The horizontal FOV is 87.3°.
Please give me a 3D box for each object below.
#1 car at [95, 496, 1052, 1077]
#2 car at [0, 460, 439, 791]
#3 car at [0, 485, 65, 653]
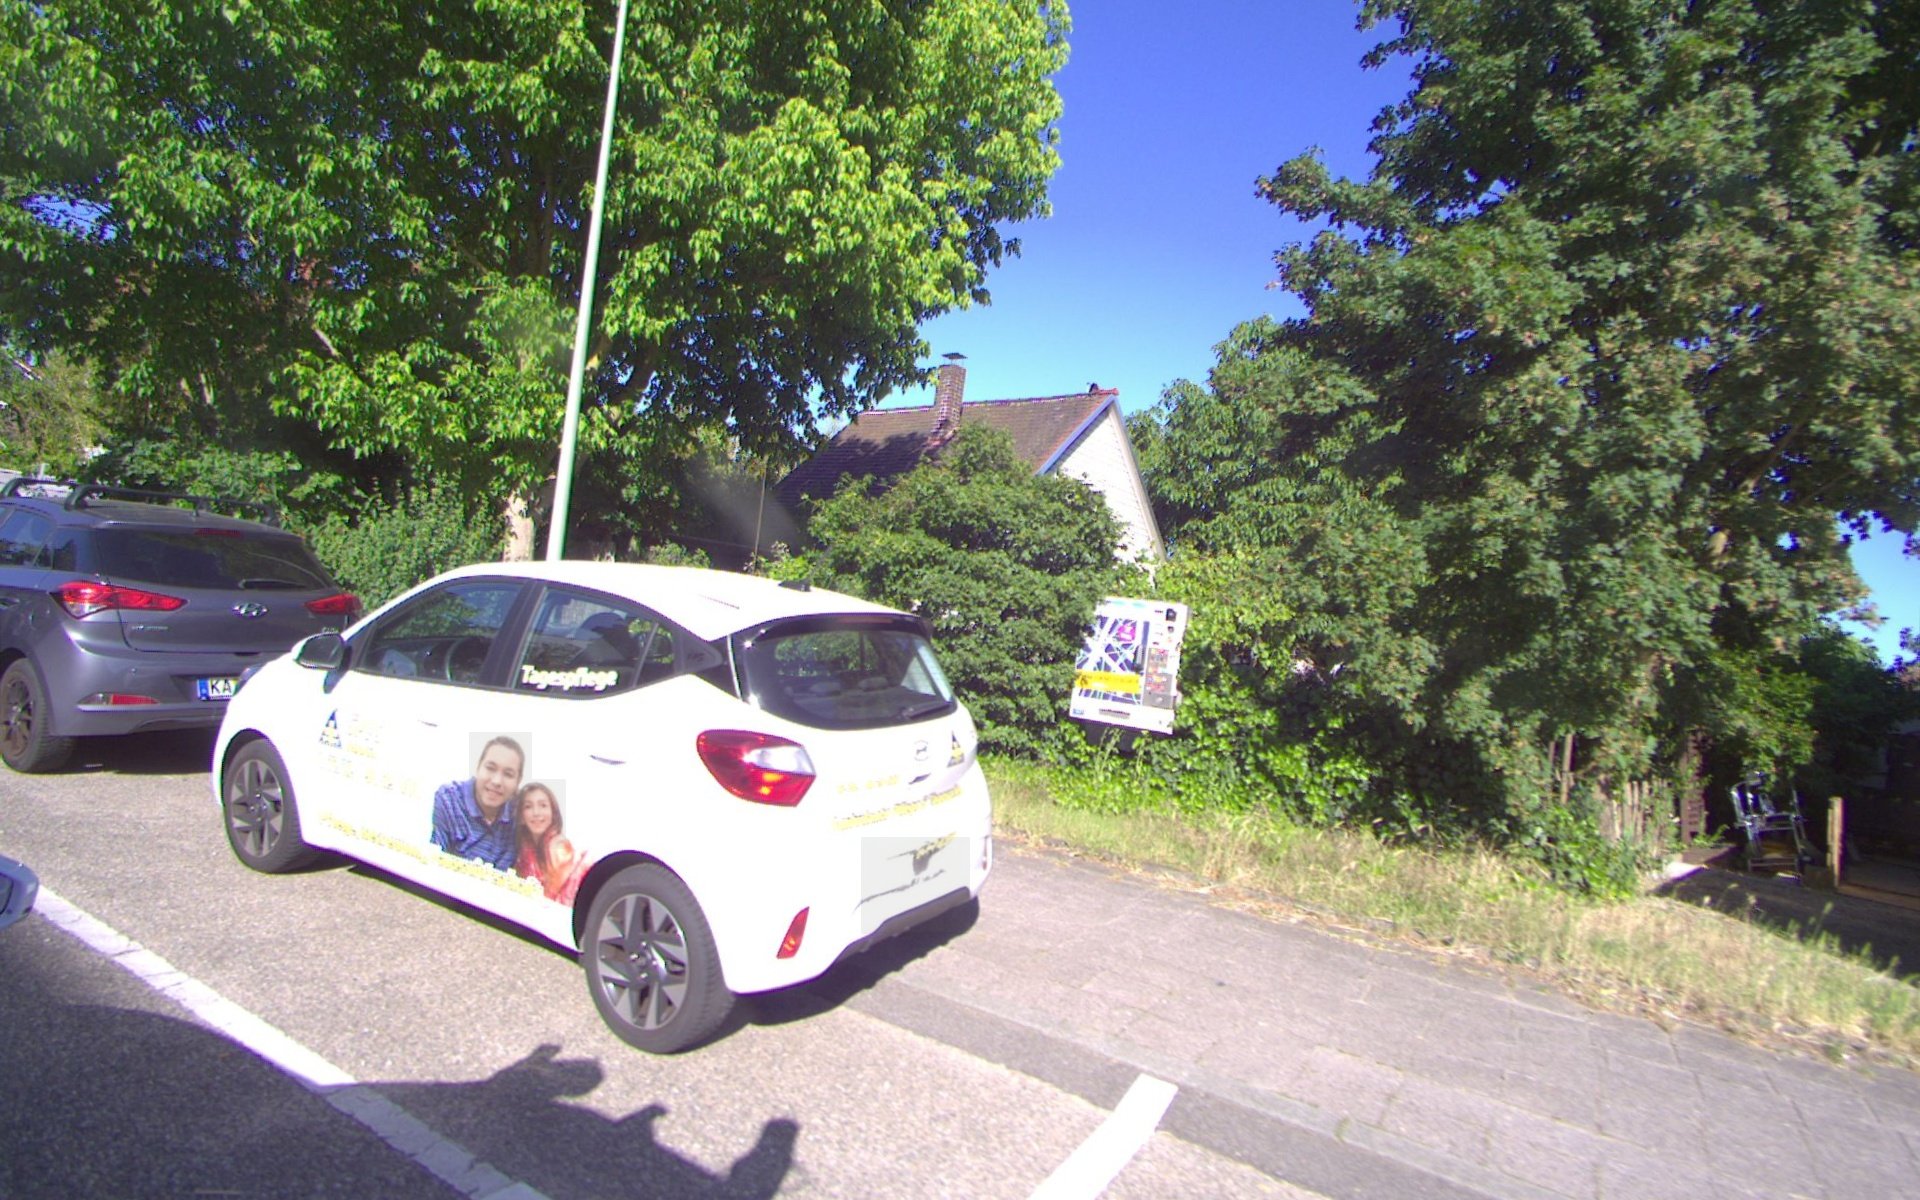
[{"bbox_3d":[-1.926,0.502,4.689,4.221,1.497,1.764,6,-2,30],"label":"car"},{"bbox_3d":[-5.857,0.005,6.856,4.220,1.619,1.916,7,-1,28],"label":"car"},{"bbox_3d":[-10.782,-0.538,9.355,4.216,1.492,2.012,6,-2,24],"label":"car"}]
